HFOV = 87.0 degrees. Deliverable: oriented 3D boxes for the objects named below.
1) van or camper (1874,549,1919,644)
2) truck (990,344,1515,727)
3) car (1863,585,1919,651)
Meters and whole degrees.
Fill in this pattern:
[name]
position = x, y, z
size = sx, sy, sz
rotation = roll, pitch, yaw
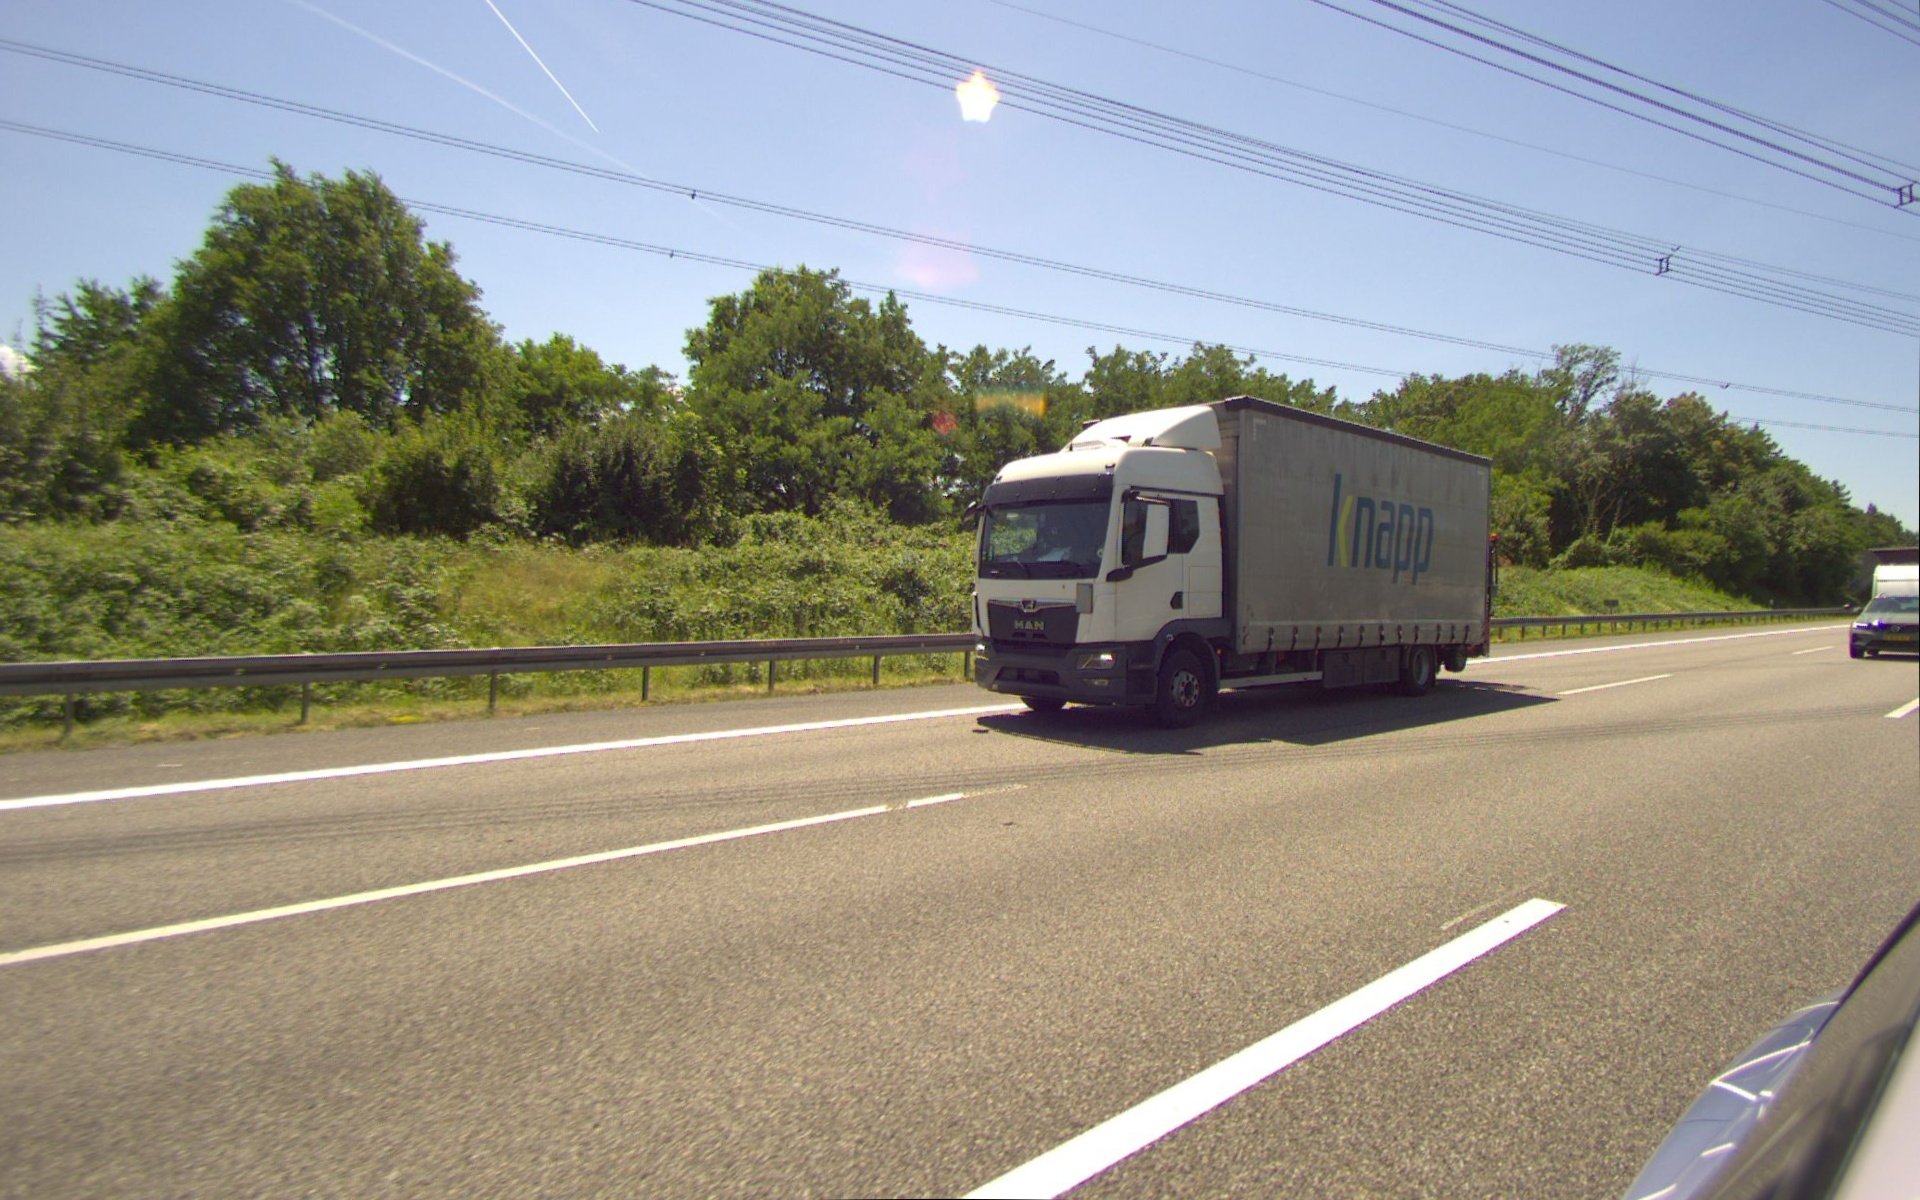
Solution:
[van or camper]
position = 27.993, -0.095, 28.635
size = 6.319, 2.529, 2.410
rotation = 0, 1, -41
[truck]
position = 4.717, -0.669, 14.084
size = 9.867, 3.820, 1.986
rotation = 0, 0, -41
[car]
position = 24.058, 0.427, 25.254
size = 4.033, 1.549, 1.786
rotation = 0, 1, -41
